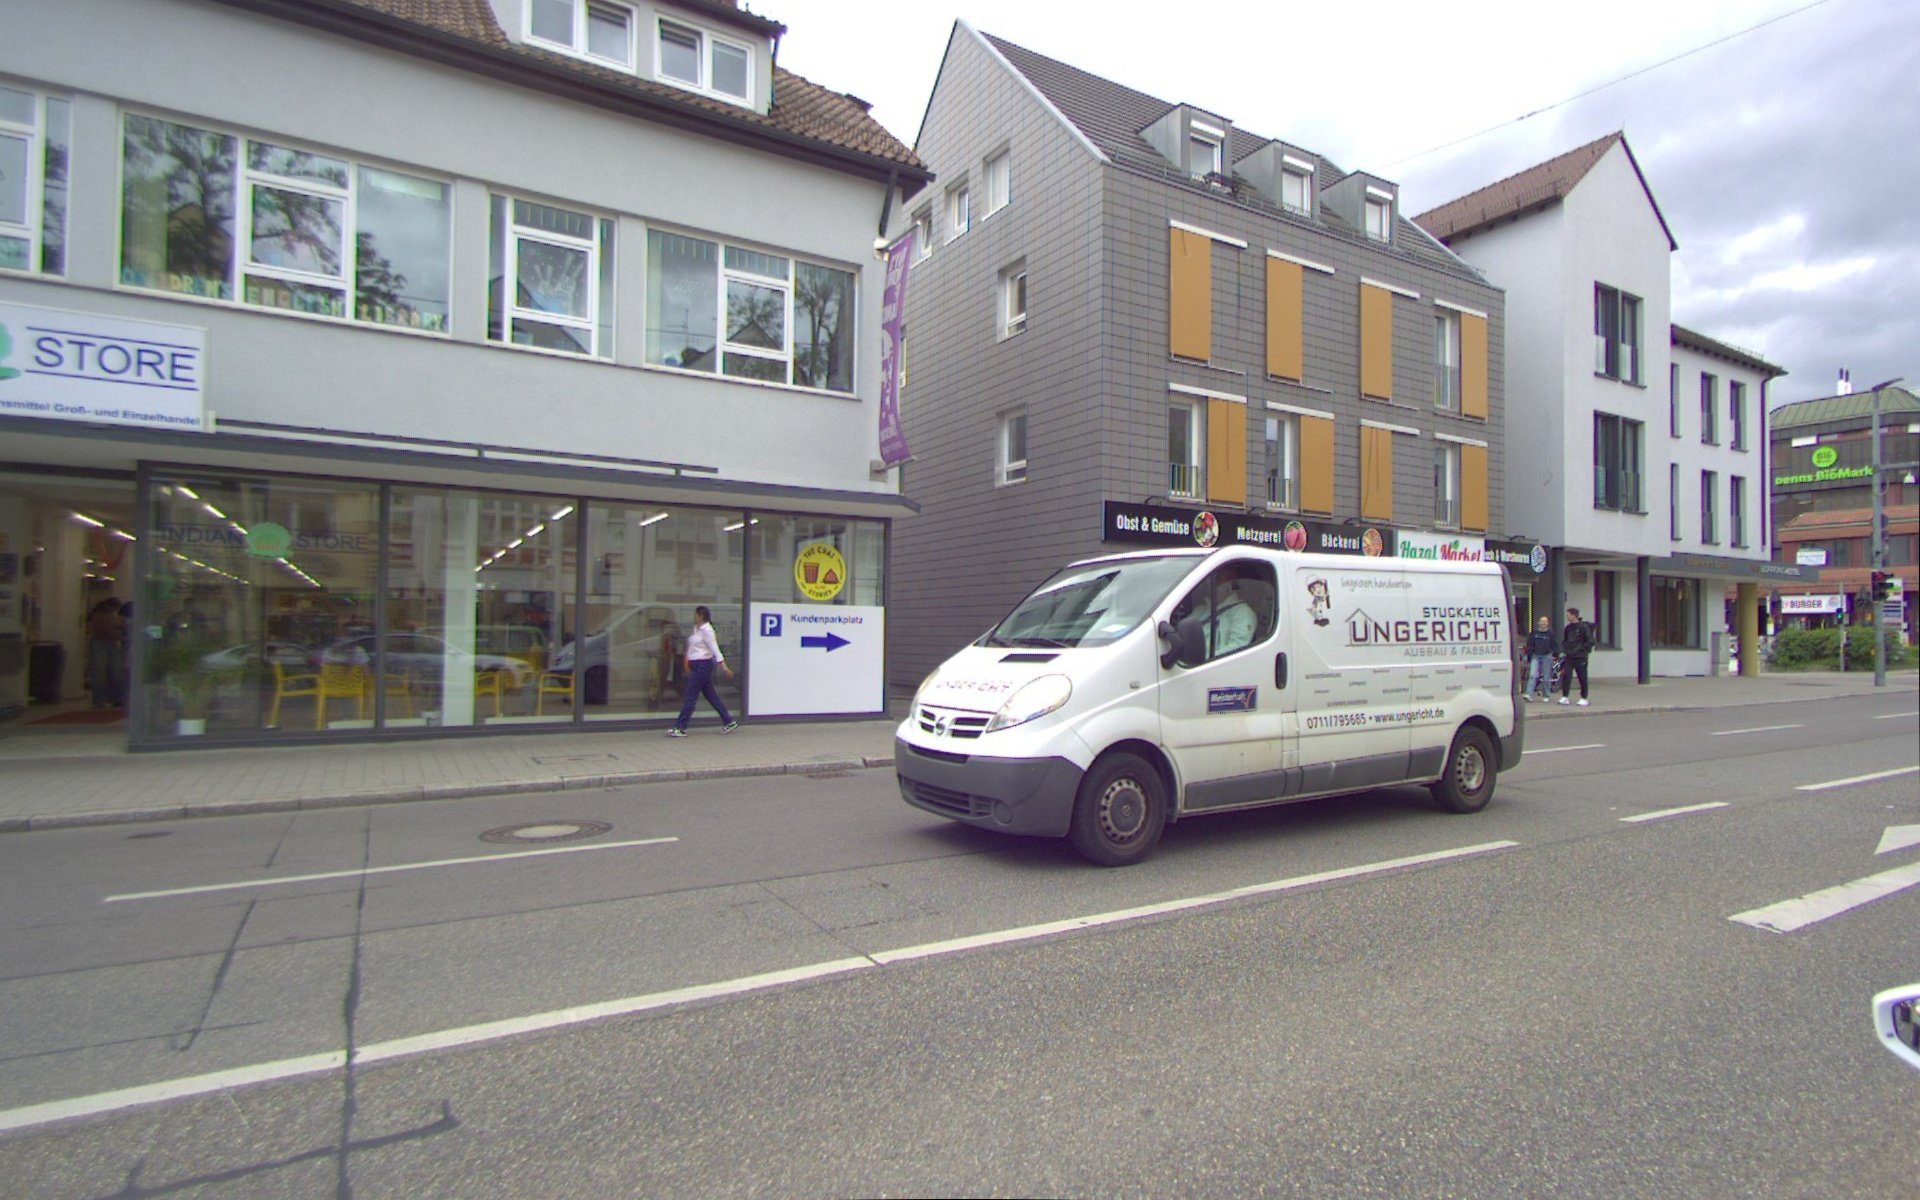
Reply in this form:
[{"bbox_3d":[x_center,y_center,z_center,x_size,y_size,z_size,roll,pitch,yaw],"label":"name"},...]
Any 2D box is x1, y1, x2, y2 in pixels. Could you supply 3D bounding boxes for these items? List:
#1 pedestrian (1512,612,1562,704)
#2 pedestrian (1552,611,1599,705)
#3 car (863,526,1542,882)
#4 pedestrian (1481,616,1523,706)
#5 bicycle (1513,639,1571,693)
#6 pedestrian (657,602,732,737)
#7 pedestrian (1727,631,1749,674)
[{"bbox_3d":[11.611,1.151,20.216,0.642,1.814,0.677,1,-1,-34],"label":"pedestrian"},{"bbox_3d":[12.072,1.129,19.701,0.640,1.799,0.565,1,-1,-33],"label":"pedestrian"},{"bbox_3d":[1.990,0.636,7.604,5.100,1.913,1.984,1,-3,-31],"label":"car"},{"bbox_3d":[10.351,1.146,19.185,0.643,1.672,0.557,0,-1,36],"label":"pedestrian"},{"bbox_3d":[13.263,1.488,22.889,1.807,1.202,0.384,1,-2,-34],"label":"bicycle"},{"bbox_3d":[-3.344,0.855,12.646,0.744,1.631,0.725,1,-1,-30],"label":"pedestrian"},{"bbox_3d":[30.913,2.060,39.907,0.694,1.680,0.936,0,-1,39],"label":"pedestrian"}]
